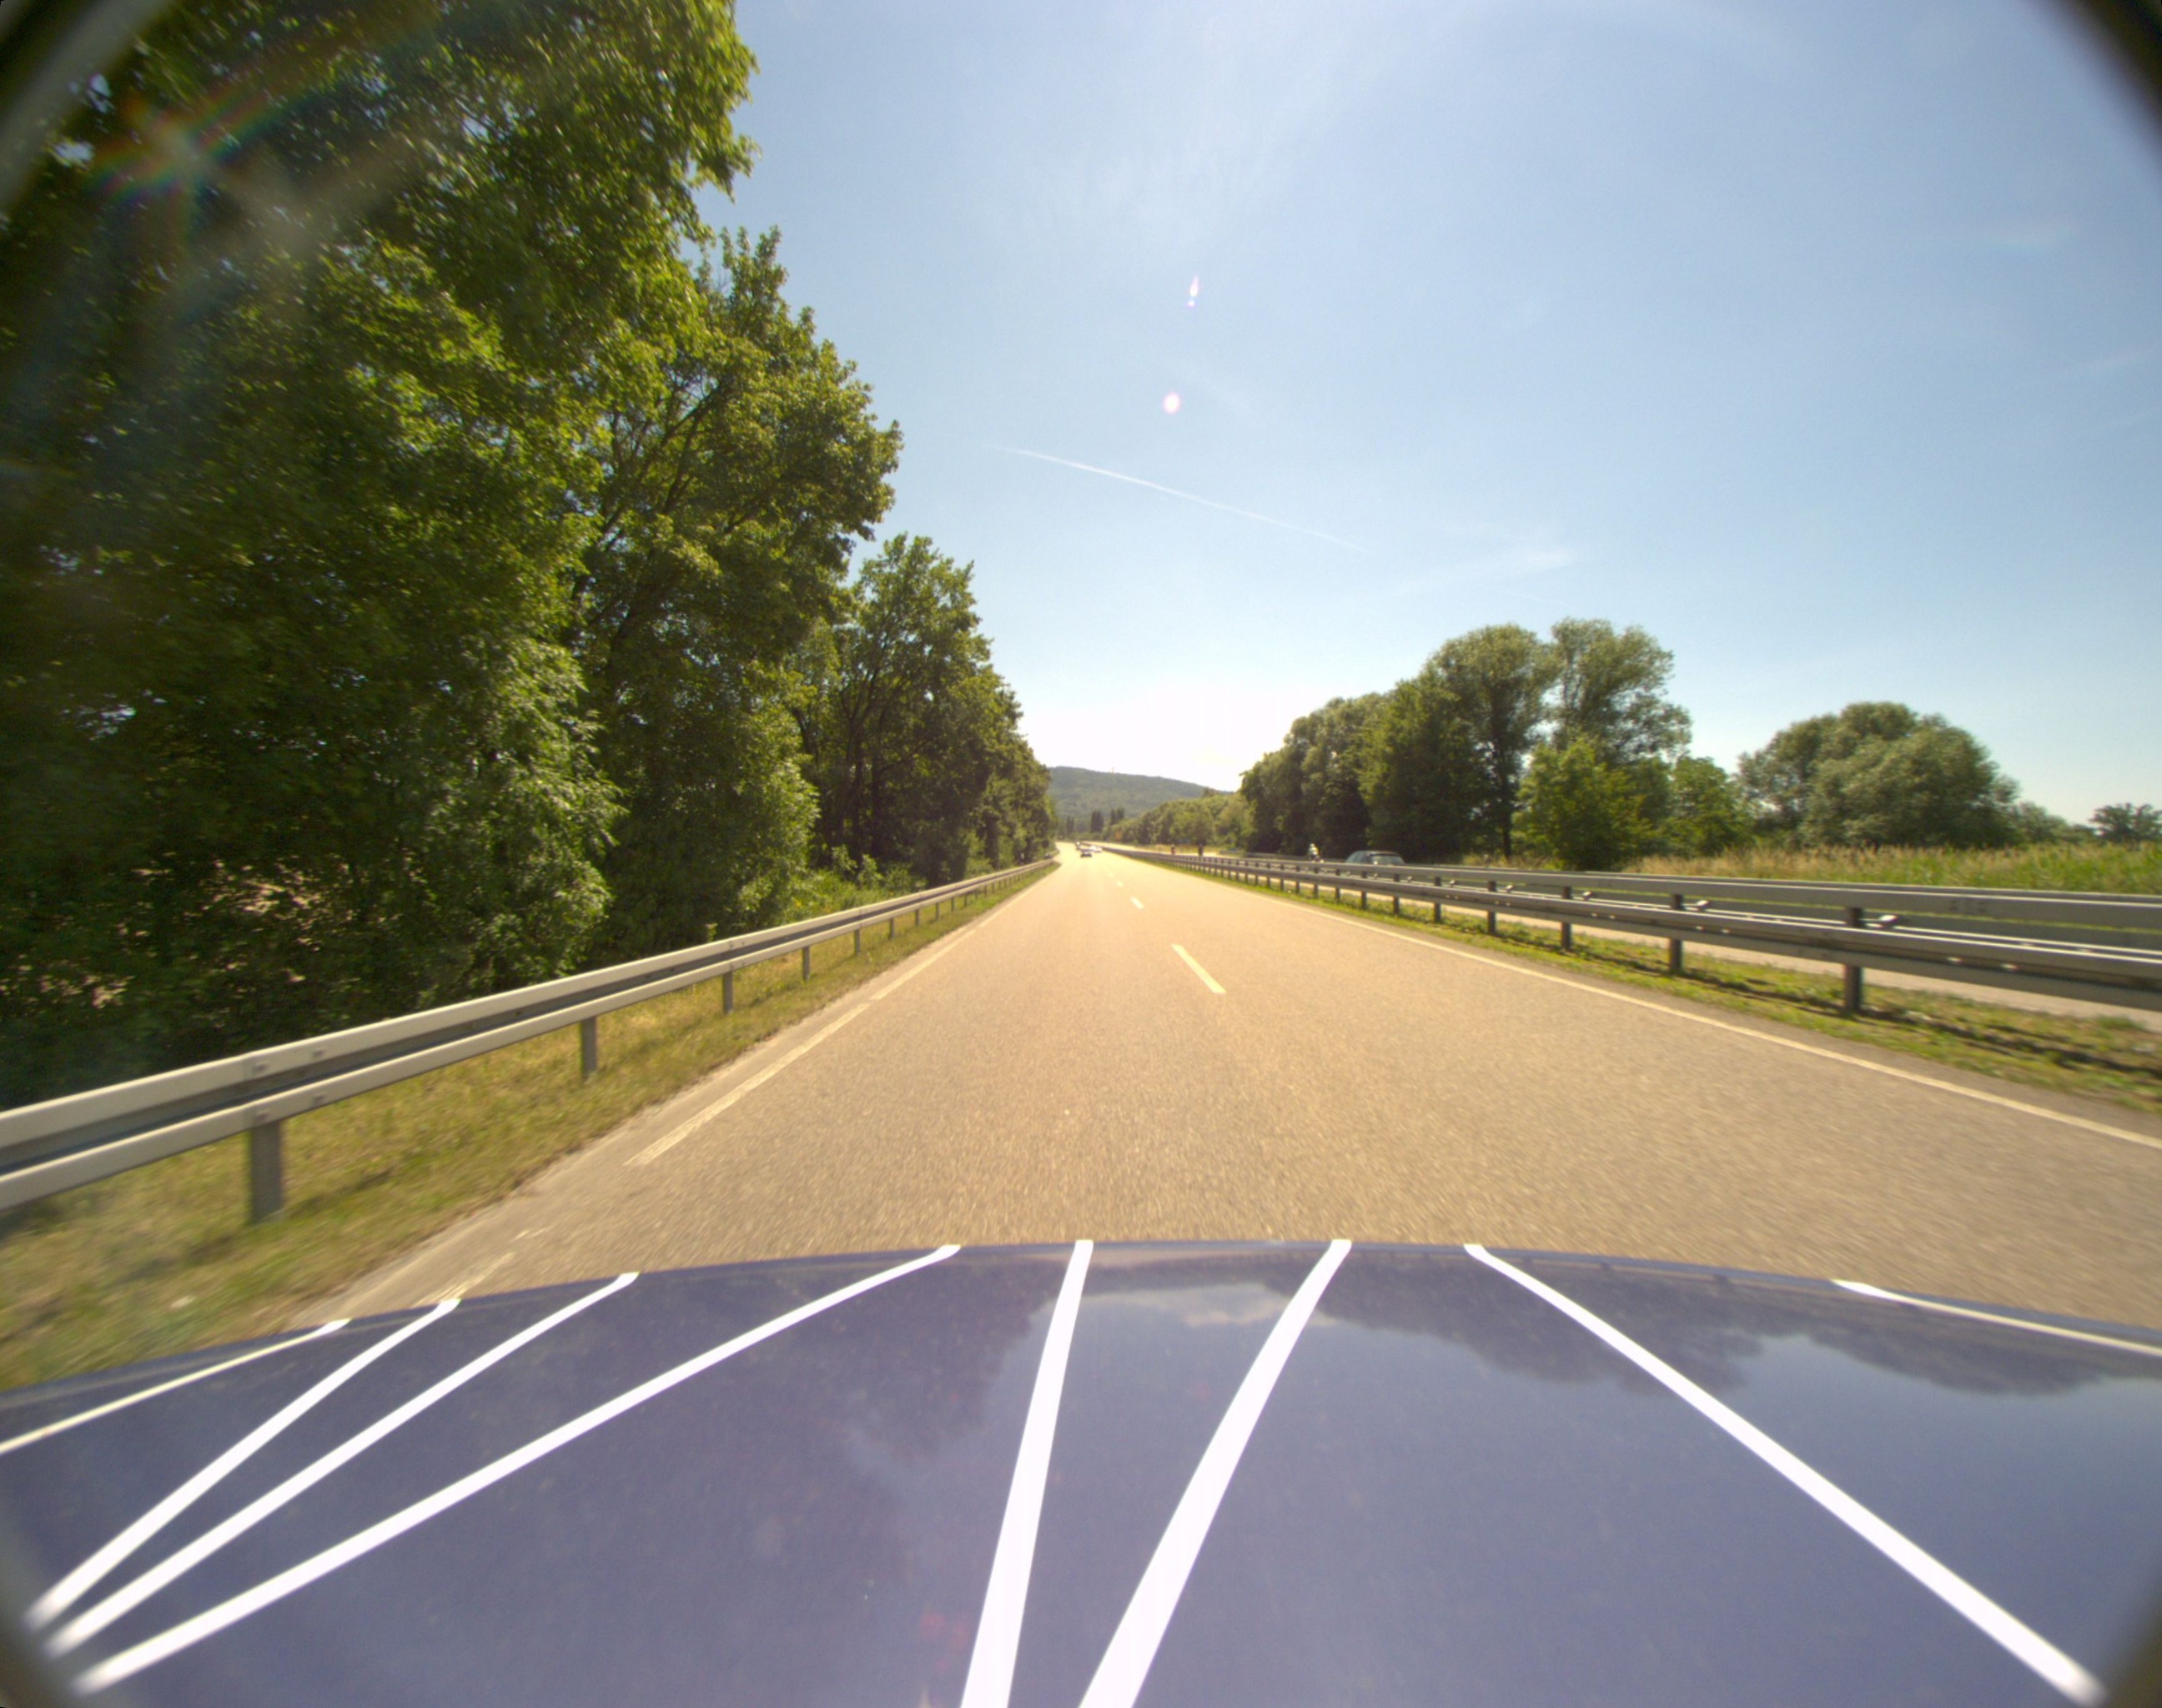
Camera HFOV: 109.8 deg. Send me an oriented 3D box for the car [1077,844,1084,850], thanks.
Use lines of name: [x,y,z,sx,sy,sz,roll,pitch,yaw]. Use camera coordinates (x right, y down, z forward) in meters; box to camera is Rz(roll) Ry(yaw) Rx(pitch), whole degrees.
car: [-0.175,-2.130,225.298,1.908,1.687,3.891,-2,1,3]

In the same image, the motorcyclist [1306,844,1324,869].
motorcyclist: [15.192,0.160,49.308,0.947,1.608,0.809,0,1,0]

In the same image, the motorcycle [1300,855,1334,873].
motorcycle: [15.153,0.644,48.912,1.066,1.058,3.818,0,1,1]

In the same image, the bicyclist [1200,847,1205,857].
bicyclist: [15.940,-0.232,99.546,0.615,1.270,0.608,-1,1,0]

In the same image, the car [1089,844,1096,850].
car: [3.251,-1.956,212.193,1.908,1.687,3.891,-2,1,3]

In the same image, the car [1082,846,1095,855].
car: [1.261,-0.630,125.815,1.908,1.368,3.891,-2,1,3]

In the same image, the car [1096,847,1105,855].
car: [4.545,-0.800,178.047,1.908,1.687,3.891,-2,1,3]

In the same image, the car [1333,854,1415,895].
car: [10.454,0.675,27.369,1.632,1.324,3.535,-1,1,1]

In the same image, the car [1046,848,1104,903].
car: [-0.205,0.673,26.703,1.862,1.662,3.998,-2,2,0]

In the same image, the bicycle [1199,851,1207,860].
bicycle: [15.966,0.159,99.570,0.615,1.151,2.280,-1,1,1]
